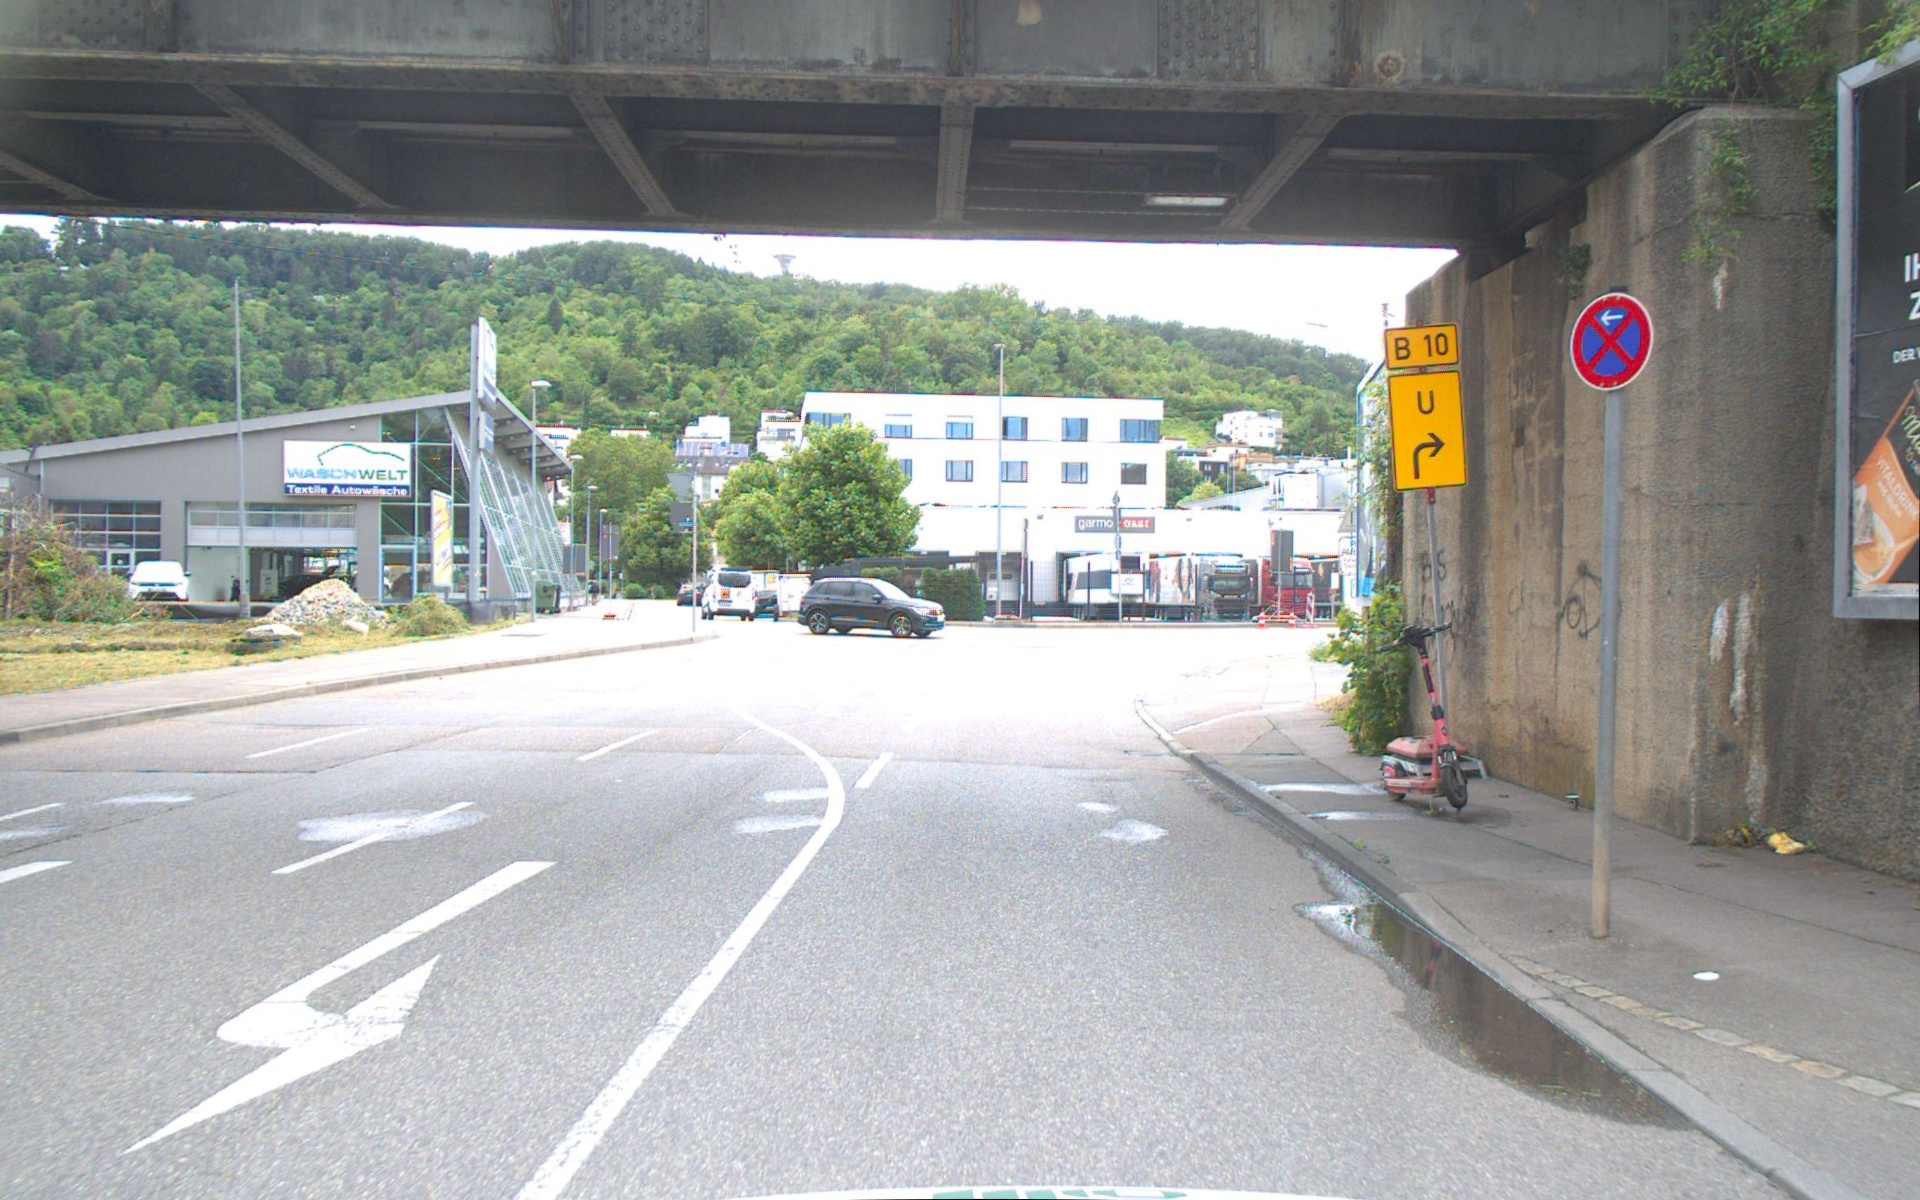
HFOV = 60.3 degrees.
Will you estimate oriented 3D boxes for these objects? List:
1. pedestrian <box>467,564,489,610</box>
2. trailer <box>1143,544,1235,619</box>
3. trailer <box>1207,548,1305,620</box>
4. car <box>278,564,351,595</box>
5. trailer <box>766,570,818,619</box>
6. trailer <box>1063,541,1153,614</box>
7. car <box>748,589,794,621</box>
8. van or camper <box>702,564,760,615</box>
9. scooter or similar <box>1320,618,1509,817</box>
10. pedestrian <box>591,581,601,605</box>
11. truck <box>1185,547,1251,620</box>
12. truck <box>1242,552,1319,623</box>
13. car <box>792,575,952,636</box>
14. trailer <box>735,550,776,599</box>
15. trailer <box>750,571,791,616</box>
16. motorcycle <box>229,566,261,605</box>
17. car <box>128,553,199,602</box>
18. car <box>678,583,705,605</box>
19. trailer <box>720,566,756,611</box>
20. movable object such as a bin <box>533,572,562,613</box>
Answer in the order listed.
[{"bbox_3d":[-20.246,-0.551,69.453,0.814,1.901,0.714,0,0,-22],"label":"pedestrian"},{"bbox_3d":[14.085,-1.089,102.832,2.731,4.376,11.162,1,0,-8],"label":"trailer"},{"bbox_3d":[18.176,-0.952,102.514,2.731,4.149,10.977,1,0,-8],"label":"trailer"},{"bbox_3d":[-38.337,-1.188,98.317,3.929,1.758,1.988,1,0,-21],"label":"car"},{"bbox_3d":[-7.362,-0.247,72.295,1.957,2.049,3.991,1,1,-10],"label":"trailer"},{"bbox_3d":[8.924,-1.314,101.662,3.023,4.149,11.390,1,0,-8],"label":"trailer"},{"bbox_3d":[-9.654,0.224,84.300,1.958,1.534,4.170,1,1,-12],"label":"car"},{"bbox_3d":[-9.795,-0.418,70.519,2.063,2.119,4.190,0,0,-14],"label":"van or camper"},{"bbox_3d":[3.172,0.781,11.707,0.495,1.257,1.664,-3,1,-13],"label":"scooter or similar"},{"bbox_3d":[-25.710,-0.468,116.802,0.617,1.702,0.755,0,-1,-14],"label":"pedestrian"},{"bbox_3d":[14.957,-0.914,96.208,2.740,4.110,4.158,1,0,-7],"label":"truck"},{"bbox_3d":[18.852,-0.720,97.563,2.740,3.997,5.915,1,0,-7],"label":"truck"},{"bbox_3d":[-2.544,0.144,48.183,4.264,1.713,2.002,0,0,12],"label":"car"},{"bbox_3d":[-16.593,-2.044,133.826,3.012,3.825,4.922,1,1,-10],"label":"trailer"},{"bbox_3d":[-10.334,-0.383,89.975,1.957,2.384,3.991,1,1,-10],"label":"trailer"},{"bbox_3d":[-32.594,-0.663,75.434,0.825,1.740,2.357,1,0,-12],"label":"motorcycle"},{"bbox_3d":[-26.382,-0.735,54.854,1.967,1.562,3.970,1,0,-24],"label":"car"},{"bbox_3d":[-21.205,-0.461,130.582,1.956,1.713,3.993,0,0,-8],"label":"car"},{"bbox_3d":[-15.003,-0.793,111.478,2.237,3.004,3.991,1,1,-10],"label":"trailer"},{"bbox_3d":[-18.110,-0.314,72.687,1.121,1.788,1.057,0,0,-8],"label":"movable object such as a bin"}]
